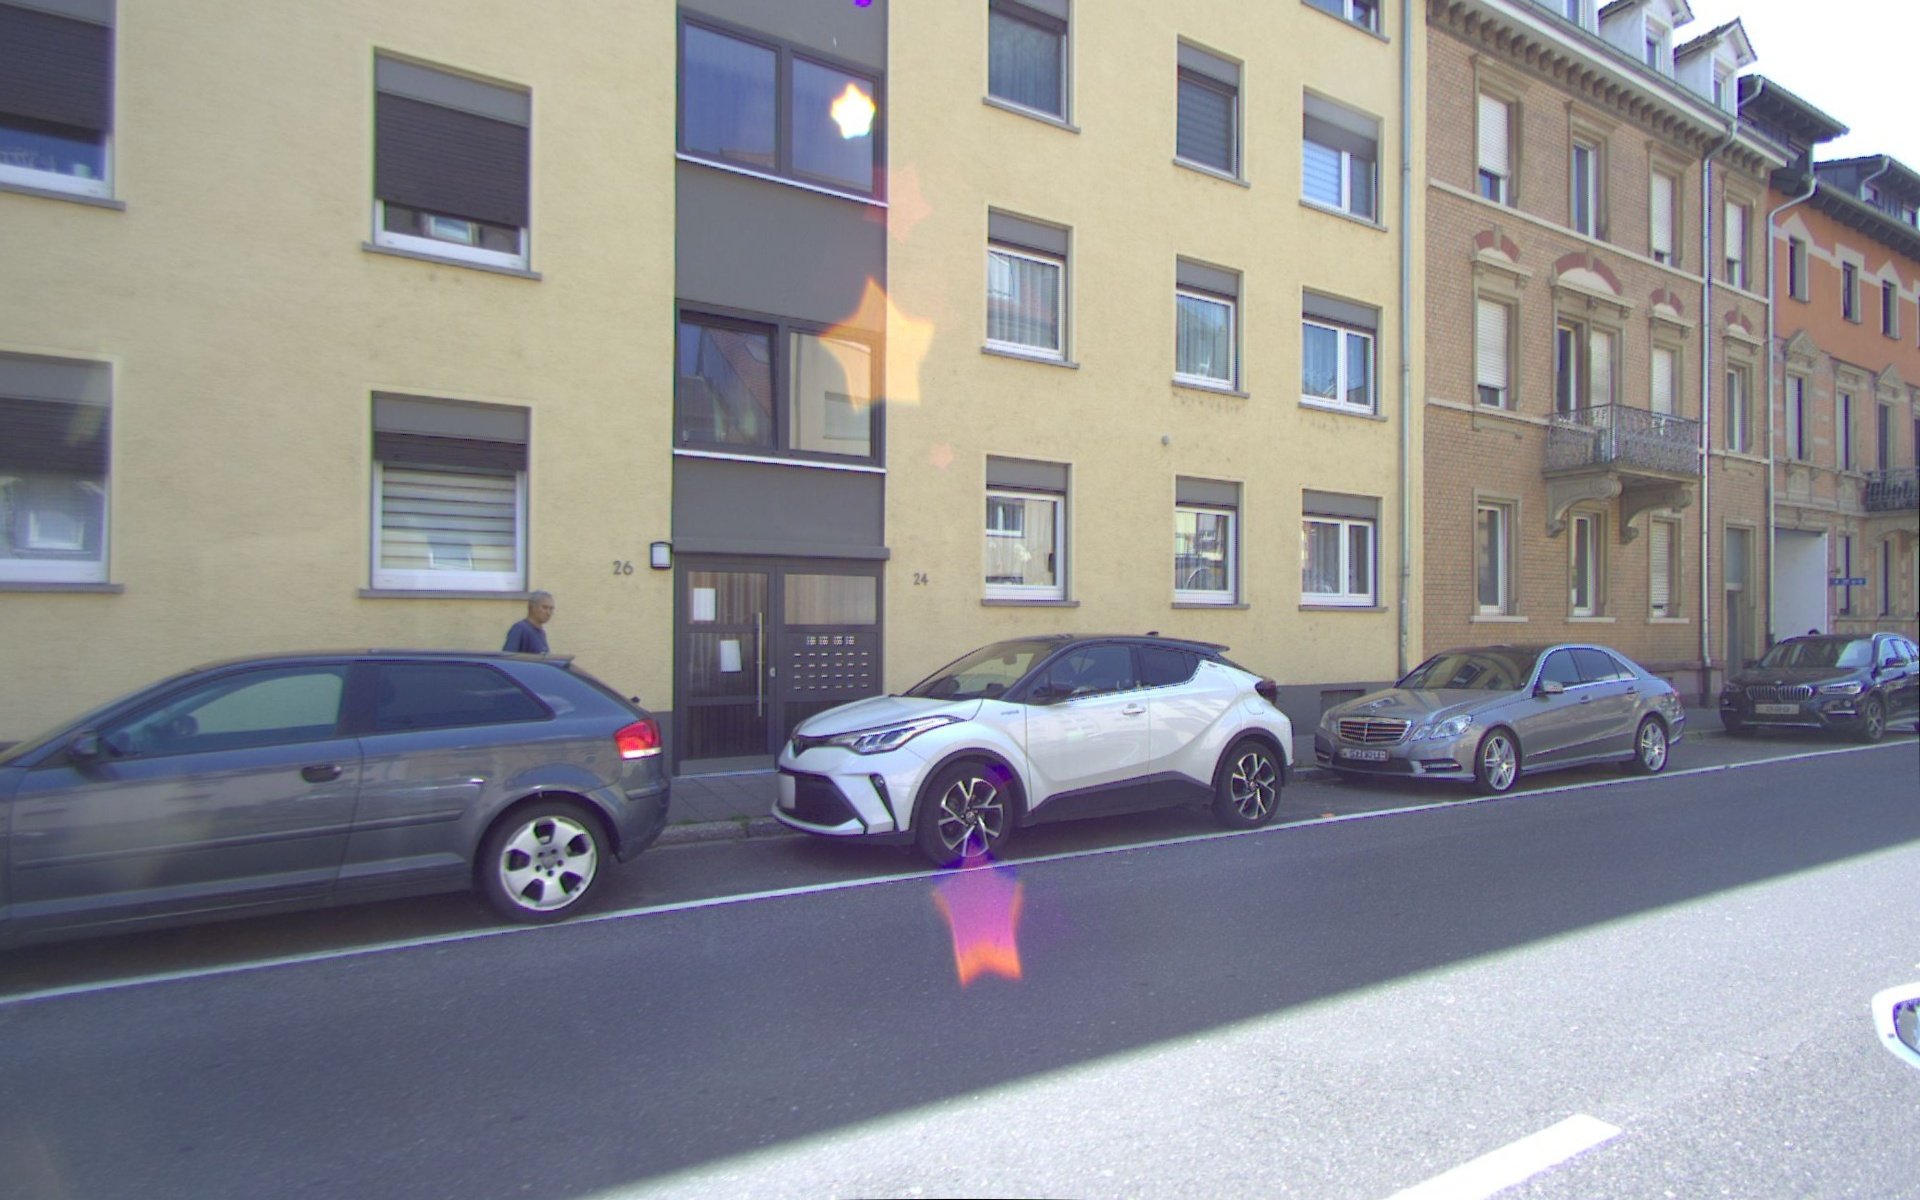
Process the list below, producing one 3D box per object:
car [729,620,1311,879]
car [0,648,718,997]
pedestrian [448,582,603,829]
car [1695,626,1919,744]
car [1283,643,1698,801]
[{"bbox_3d":[0.548,0.977,7.880,4.253,1.530,1.896,1,-3,-31],"label":"car"},{"bbox_3d":[-3.538,0.966,5.361,4.013,1.397,1.896,1,-3,-30],"label":"car"},{"bbox_3d":[-3.462,0.773,7.962,0.958,1.773,1.145,1,-1,-31],"label":"pedestrian"},{"bbox_3d":[13.812,1.284,16.005,4.254,1.641,1.895,2,-3,-32],"label":"car"},{"bbox_3d":[5.948,1.201,11.123,4.700,1.419,1.896,1,-3,-31],"label":"car"}]
